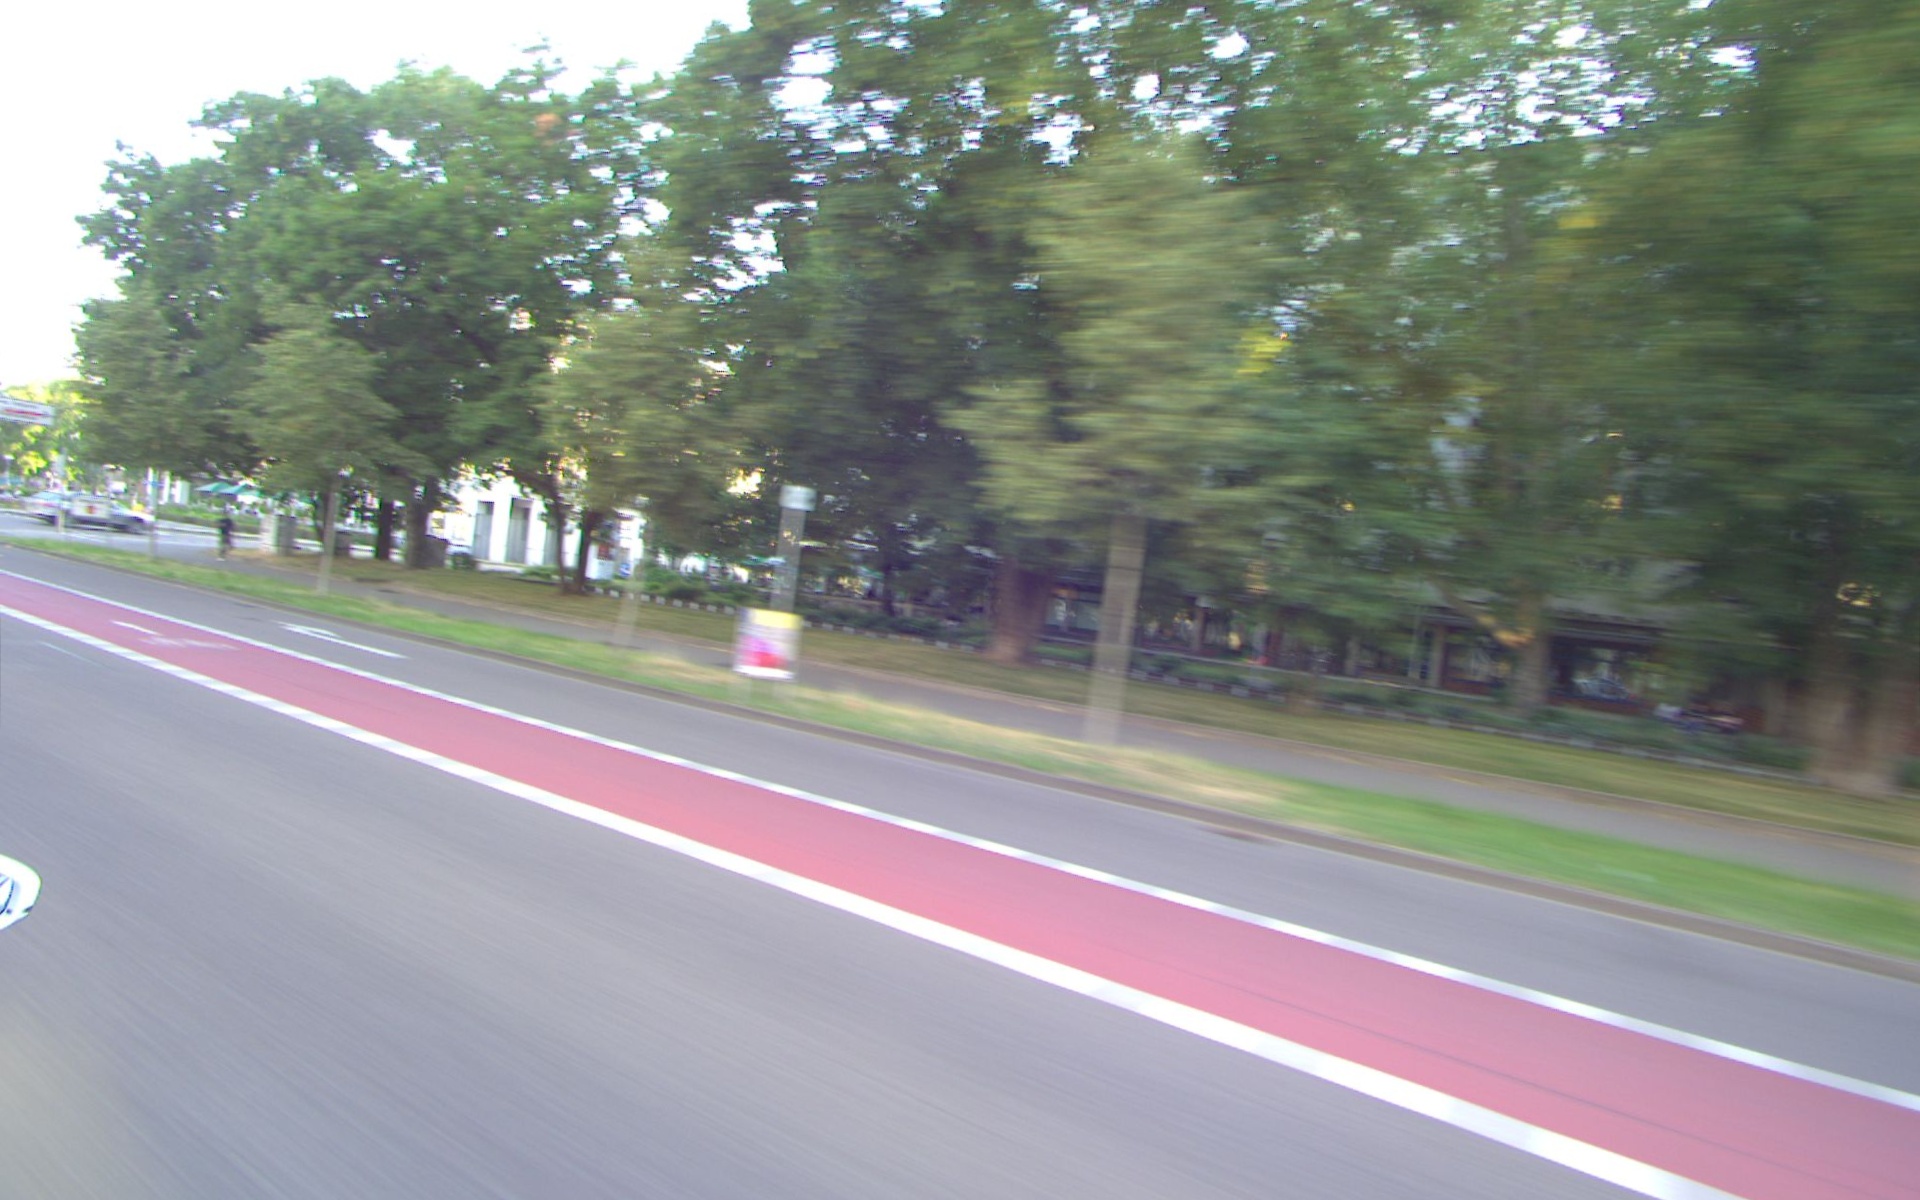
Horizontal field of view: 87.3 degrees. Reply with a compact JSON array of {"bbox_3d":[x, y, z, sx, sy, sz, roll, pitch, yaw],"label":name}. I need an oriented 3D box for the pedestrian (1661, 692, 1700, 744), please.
[{"bbox_3d":[19.732,3.212,27.563,0.714,1.276,1.131,7,1,36],"label":"pedestrian"}]

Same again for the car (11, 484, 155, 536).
[{"bbox_3d":[-40.627,-4.148,46.740,1.964,1.668,4.543,7,0,25],"label":"car"}]

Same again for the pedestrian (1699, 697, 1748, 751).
[{"bbox_3d":[20.449,3.306,26.961,0.891,1.276,1.131,7,1,36],"label":"pedestrian"}]

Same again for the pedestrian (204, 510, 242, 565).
[{"bbox_3d":[-24.783,-2.100,33.836,0.736,1.715,0.695,7,1,32],"label":"pedestrian"}]

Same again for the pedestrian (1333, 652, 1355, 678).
[{"bbox_3d":[18.680,3.163,48.943,0.689,1.179,0.786,7,1,35],"label":"pedestrian"}]
